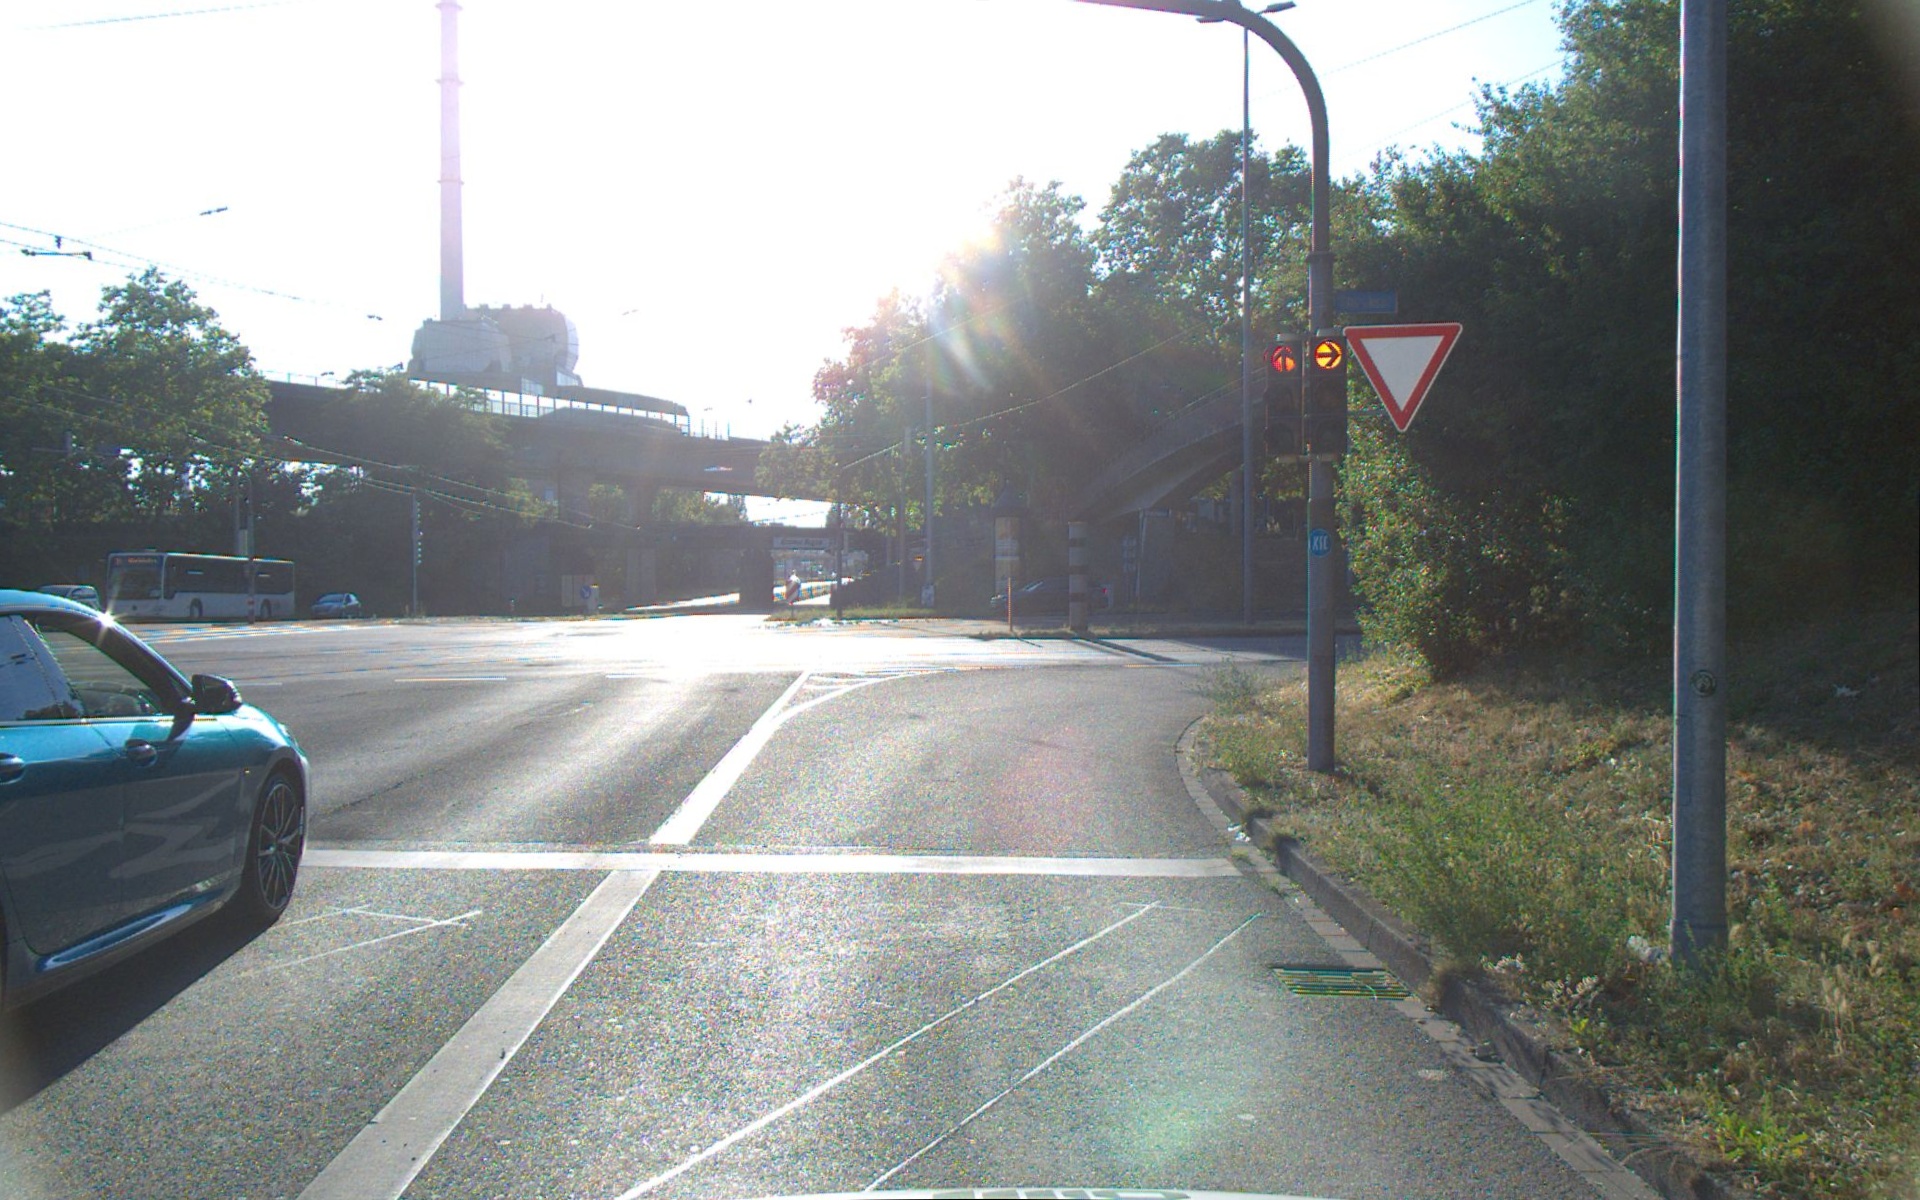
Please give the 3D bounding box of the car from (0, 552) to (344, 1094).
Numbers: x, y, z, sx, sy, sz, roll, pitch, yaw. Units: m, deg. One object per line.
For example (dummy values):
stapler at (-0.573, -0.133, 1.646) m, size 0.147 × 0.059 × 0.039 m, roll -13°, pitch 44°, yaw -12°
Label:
car at (-3.547, 0.608, 5.451) m, size 1.680 × 1.491 × 4.204 m, roll -1°, pitch 1°, yaw -4°

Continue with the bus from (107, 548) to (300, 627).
bus at (-33.259, -0.410, 73.544) m, size 2.491 × 3.185 × 12.917 m, roll -1°, pitch -1°, yaw 1°

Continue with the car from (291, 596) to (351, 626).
car at (-33.135, 0.543, 85.861) m, size 1.574 × 1.444 × 4.008 m, roll 1°, pitch 1°, yaw 0°

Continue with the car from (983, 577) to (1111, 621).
car at (3.266, -0.033, 61.950) m, size 4.506 × 1.602 × 1.684 m, roll 0°, pitch 0°, yaw -19°

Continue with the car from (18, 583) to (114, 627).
car at (-33.247, 0.165, 61.632) m, size 1.575 × 1.538 × 4.005 m, roll 1°, pitch 1°, yaw -4°
